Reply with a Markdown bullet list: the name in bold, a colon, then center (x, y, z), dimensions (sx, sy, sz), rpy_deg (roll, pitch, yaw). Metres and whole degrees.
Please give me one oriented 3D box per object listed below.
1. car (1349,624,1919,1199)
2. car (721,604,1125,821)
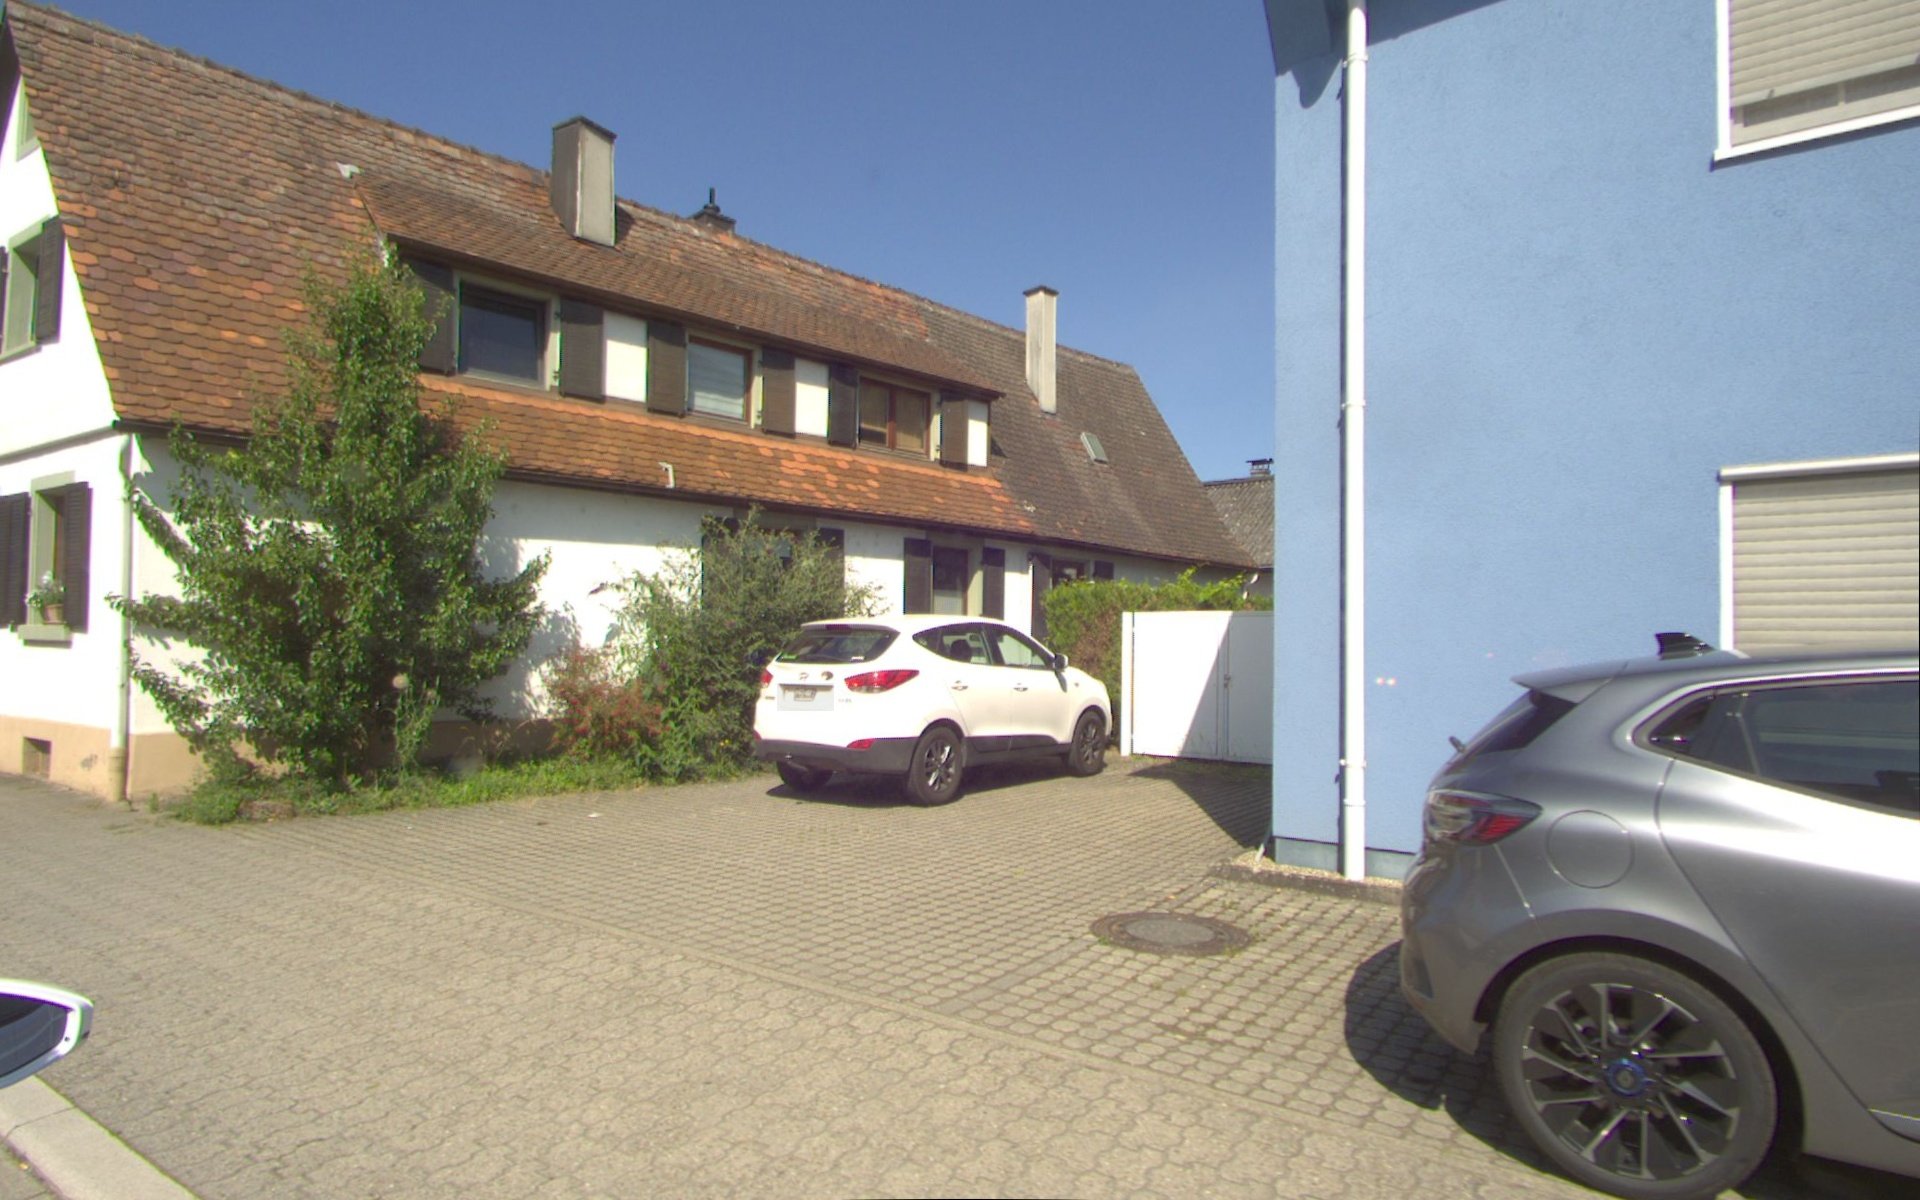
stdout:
- **car**: center (3.270, 0.800, 2.396), dimensions (4.091, 1.437, 1.686), rpy_deg (-2, -4, 36)
- **car**: center (-0.145, 0.980, 9.994), dimensions (1.790, 1.678, 4.161), rpy_deg (-1, -3, 38)
